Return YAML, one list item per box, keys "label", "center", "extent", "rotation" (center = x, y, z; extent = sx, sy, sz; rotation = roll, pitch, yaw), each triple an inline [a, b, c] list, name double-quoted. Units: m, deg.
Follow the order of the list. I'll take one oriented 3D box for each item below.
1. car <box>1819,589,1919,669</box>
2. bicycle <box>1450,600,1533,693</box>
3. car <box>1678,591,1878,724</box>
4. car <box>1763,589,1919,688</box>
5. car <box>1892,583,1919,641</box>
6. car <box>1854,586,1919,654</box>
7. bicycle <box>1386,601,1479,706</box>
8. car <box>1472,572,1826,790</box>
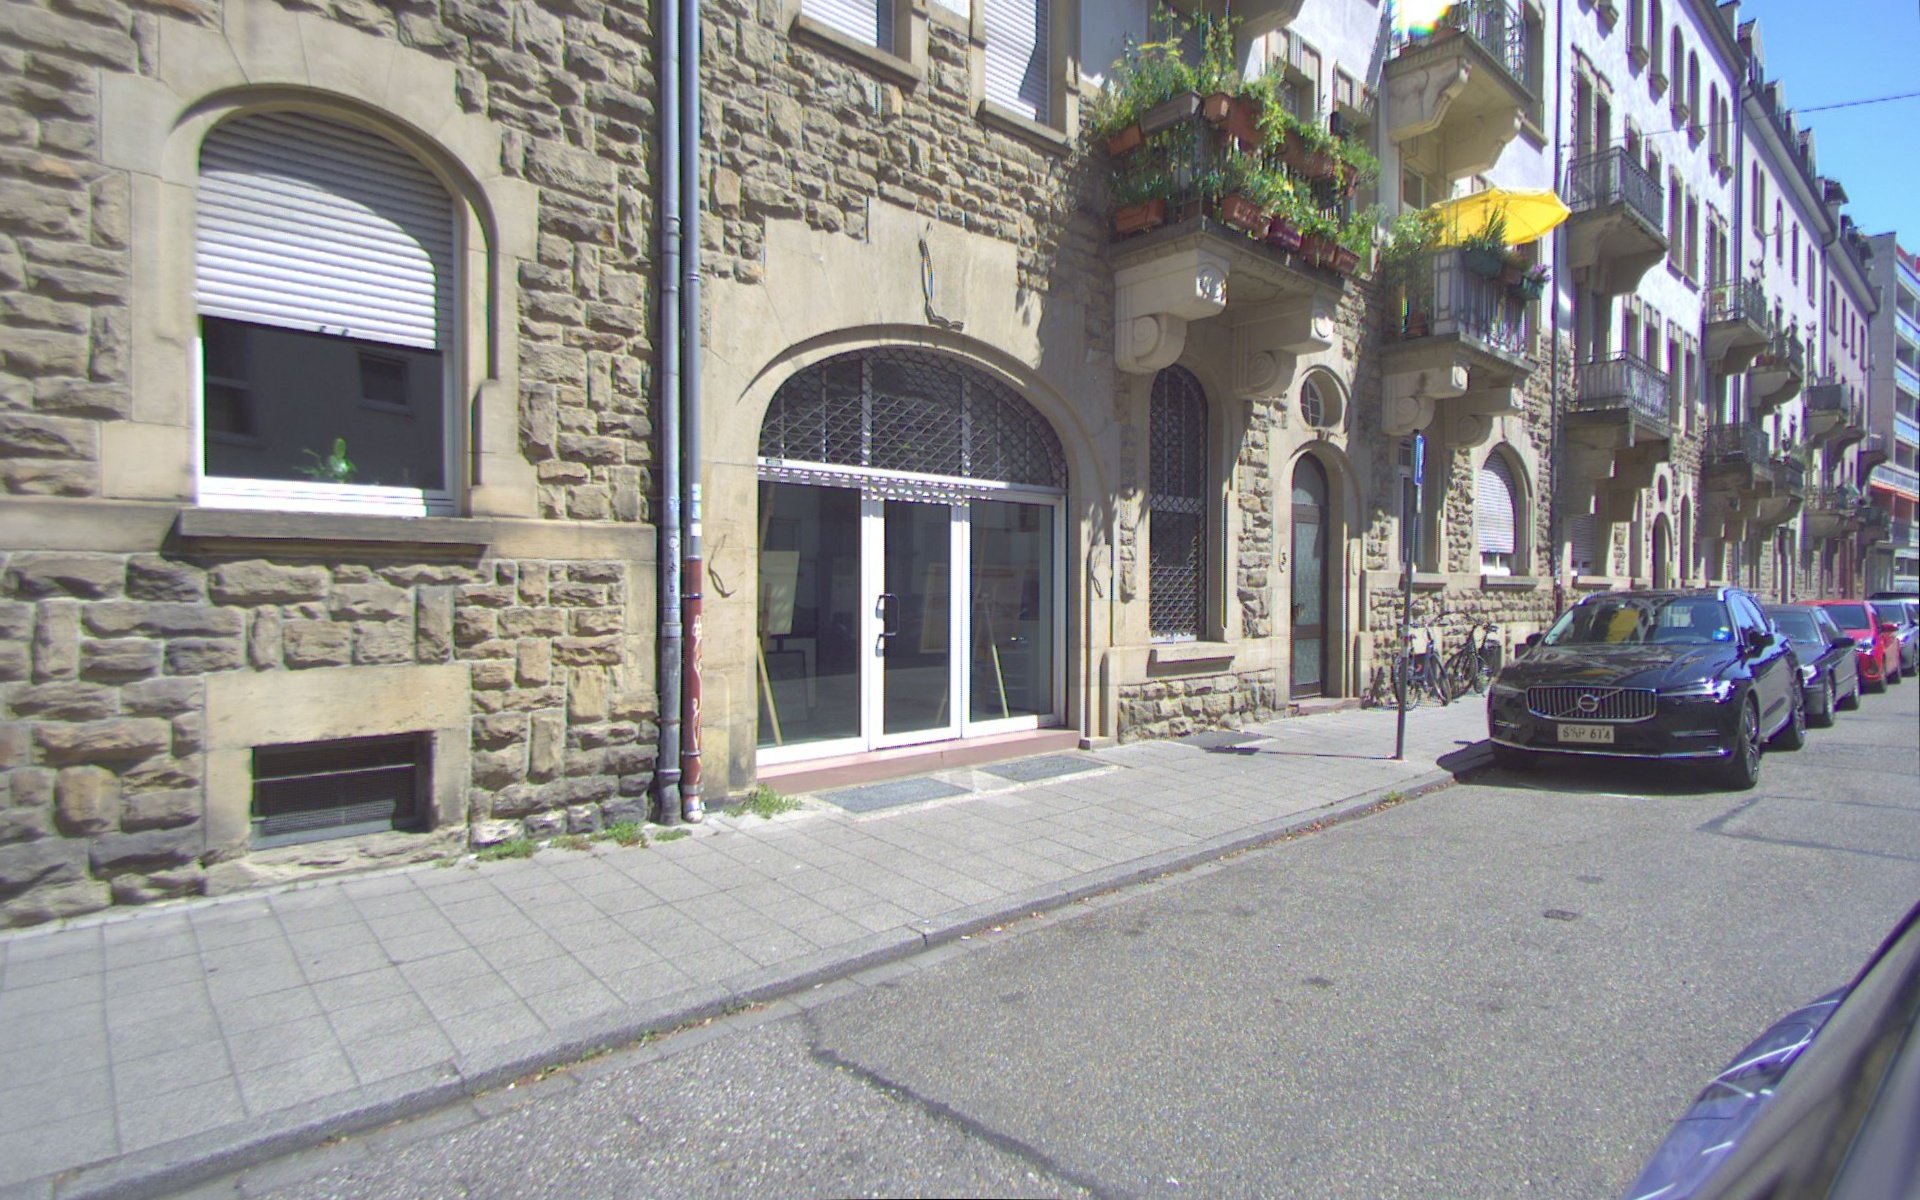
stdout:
- label: "car"
  center: [18.949, 0.543, 20.658]
  extent: [3.790, 1.471, 1.591]
  rotation: [-1, -1, -42]
- label: "bicycle"
  center: [7.650, 0.632, 14.540]
  extent: [1.744, 1.223, 0.442]
  rotation: [-1, 2, -41]
- label: "car"
  center: [10.578, 0.629, 12.993]
  extent: [3.907, 1.416, 1.513]
  rotation: [-1, -1, -44]
- label: "car"
  center: [15.070, 0.584, 17.226]
  extent: [3.777, 1.471, 1.572]
  rotation: [-1, -1, -42]
- label: "car"
  center: [26.937, 0.301, 27.648]
  extent: [4.589, 1.476, 1.739]
  rotation: [-1, 2, -42]
- label: "car"
  center: [22.855, 0.414, 24.044]
  extent: [4.515, 1.471, 1.719]
  rotation: [-1, -1, -40]
- label: "bicycle"
  center: [6.058, 0.651, 12.936]
  extent: [1.744, 1.223, 0.385]
  rotation: [-1, 2, -41]
- label: "car"
  center: [6.688, 0.573, 9.597]
  extent: [4.529, 1.587, 1.834]
  rotation: [-1, -1, -44]
